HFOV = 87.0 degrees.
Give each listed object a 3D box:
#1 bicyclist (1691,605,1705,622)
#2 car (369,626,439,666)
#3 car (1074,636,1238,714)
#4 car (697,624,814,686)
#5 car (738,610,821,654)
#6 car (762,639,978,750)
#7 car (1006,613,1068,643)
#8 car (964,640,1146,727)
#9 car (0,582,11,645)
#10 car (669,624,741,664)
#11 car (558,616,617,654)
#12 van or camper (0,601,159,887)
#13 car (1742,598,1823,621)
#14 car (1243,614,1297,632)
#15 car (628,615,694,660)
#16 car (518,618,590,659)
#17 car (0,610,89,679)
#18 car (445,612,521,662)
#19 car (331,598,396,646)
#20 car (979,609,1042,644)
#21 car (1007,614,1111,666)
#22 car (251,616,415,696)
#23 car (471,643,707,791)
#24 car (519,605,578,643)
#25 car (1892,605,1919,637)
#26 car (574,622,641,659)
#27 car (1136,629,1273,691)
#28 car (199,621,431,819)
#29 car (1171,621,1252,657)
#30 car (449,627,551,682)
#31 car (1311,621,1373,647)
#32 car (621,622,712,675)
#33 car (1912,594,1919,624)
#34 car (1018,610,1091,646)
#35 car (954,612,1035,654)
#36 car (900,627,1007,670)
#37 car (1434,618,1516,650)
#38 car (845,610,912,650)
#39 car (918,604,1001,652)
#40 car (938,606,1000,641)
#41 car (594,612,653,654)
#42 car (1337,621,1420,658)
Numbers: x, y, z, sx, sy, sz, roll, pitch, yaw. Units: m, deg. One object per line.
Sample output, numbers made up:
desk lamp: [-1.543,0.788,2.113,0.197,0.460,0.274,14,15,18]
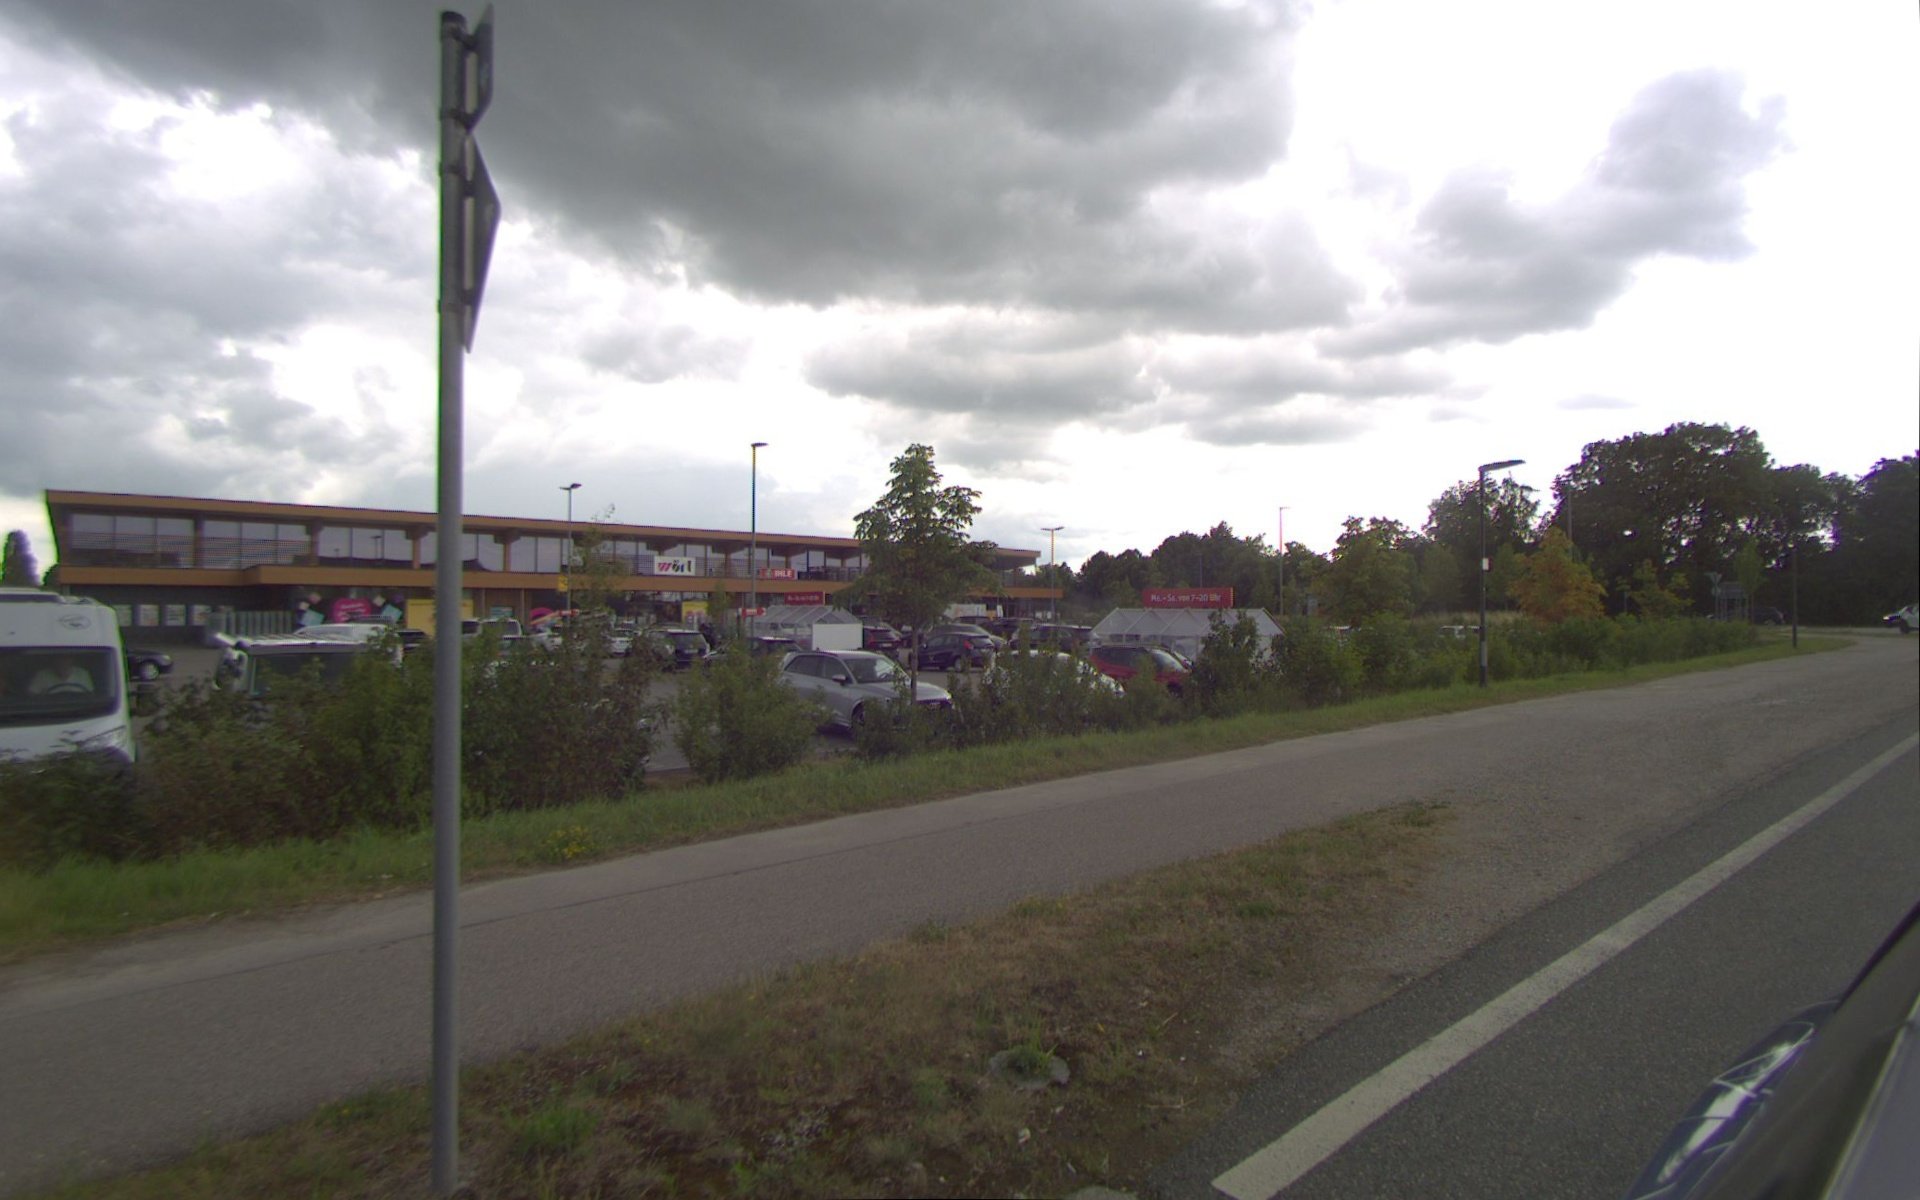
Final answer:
bicyclist: [55.653,1.012,76.331,0.545,1.259,0.659,1,0,0]
car: [-22.761,1.851,41.387,1.744,1.399,3.467,1,1,-42]
car: [4.806,1.798,25.191,1.647,1.557,3.762,1,1,-42]
car: [-6.556,1.673,32.195,1.964,1.638,3.996,1,1,-40]
car: [-9.643,1.636,53.741,1.965,2.039,5.138,1,1,-41]
car: [-1.821,1.684,19.439,2.045,1.618,4.153,1,1,-42]
car: [5.172,1.855,68.471,2.032,1.871,4.000,1,1,-36]
car: [2.091,1.834,23.304,1.647,1.557,4.153,1,1,-42]
car: [-33.418,0.407,32.442,4.210,2.039,1.998,1,1,-40]
car: [-15.163,2.556,60.001,1.965,2.039,5.138,1,1,-41]
car: [-19.499,1.779,52.935,1.908,1.772,4.000,1,1,-35]
van or camper: [-11.081,1.341,11.836,2.242,2.495,6.475,1,1,-42]
car: [55.625,0.604,68.548,3.964,1.438,1.699,2,1,29]
car: [25.750,1.870,84.152,3.916,1.377,1.705,1,1,-13]
car: [-15.168,1.861,51.201,1.962,2.039,4.000,1,1,-36]
car: [-18.620,1.737,46.294,2.003,1.627,3.745,1,1,-40]
car: [-30.362,1.377,31.261,5.140,2.039,1.998,0,1,-40]
car: [-20.862,1.553,44.192,2.004,1.935,3.899,1,1,-42]
car: [-27.704,0.958,46.931,1.819,2.035,4.224,1,1,-42]
car: [3.246,1.677,65.613,2.032,2.039,4.000,1,1,-36]
car: [4.067,1.594,42.253,1.962,1.894,4.274,1,1,-35]
car: [-18.062,1.525,29.106,4.905,1.930,2.086,2,1,32]
car: [-5.983,1.656,15.887,1.728,1.618,5.103,1,1,-42]
car: [-20.881,1.179,51.278,1.908,1.772,4.000,1,1,-35]
car: [58.850,1.264,62.344,1.993,1.861,3.939,2,1,42]
car: [-16.696,1.890,47.868,1.761,1.496,3.745,1,1,-40]
car: [7.332,1.764,30.618,1.647,1.557,3.762,1,1,-42]
car: [-8.964,1.416,13.872,1.966,2.039,4.600,1,1,-42]
car: [12.414,1.887,50.025,1.723,1.552,3.555,1,1,-41]
car: [-14.952,1.716,32.789,1.869,1.451,4.184,1,1,-42]
car: [23.685,2.075,62.937,1.806,1.377,4.007,1,1,-9]
car: [-10.730,1.711,36.887,1.962,1.638,4.000,1,1,-36]
car: [49.732,0.484,50.442,1.976,1.538,3.744,1,1,21]
car: [5.509,1.635,59.533,1.962,1.894,4.274,1,1,-35]
car: [1.746,1.669,52.562,1.962,1.894,4.274,1,1,-35]
car: [-0.290,1.788,38.462,1.965,1.460,3.993,1,-1,-41]
car: [30.439,2.013,59.832,4.154,1.738,1.705,1,1,-13]
car: [-4.670,1.678,57.453,1.962,2.039,4.000,1,1,-36]
car: [-0.052,1.276,47.829,1.962,2.039,4.000,1,1,-36]
car: [0.517,1.476,64.283,1.962,2.039,4.000,1,1,-36]
car: [-18.330,1.754,55.017,1.962,2.039,4.000,1,1,-36]
car: [20.991,1.985,50.876,1.771,1.728,3.385,1,-2,-41]
